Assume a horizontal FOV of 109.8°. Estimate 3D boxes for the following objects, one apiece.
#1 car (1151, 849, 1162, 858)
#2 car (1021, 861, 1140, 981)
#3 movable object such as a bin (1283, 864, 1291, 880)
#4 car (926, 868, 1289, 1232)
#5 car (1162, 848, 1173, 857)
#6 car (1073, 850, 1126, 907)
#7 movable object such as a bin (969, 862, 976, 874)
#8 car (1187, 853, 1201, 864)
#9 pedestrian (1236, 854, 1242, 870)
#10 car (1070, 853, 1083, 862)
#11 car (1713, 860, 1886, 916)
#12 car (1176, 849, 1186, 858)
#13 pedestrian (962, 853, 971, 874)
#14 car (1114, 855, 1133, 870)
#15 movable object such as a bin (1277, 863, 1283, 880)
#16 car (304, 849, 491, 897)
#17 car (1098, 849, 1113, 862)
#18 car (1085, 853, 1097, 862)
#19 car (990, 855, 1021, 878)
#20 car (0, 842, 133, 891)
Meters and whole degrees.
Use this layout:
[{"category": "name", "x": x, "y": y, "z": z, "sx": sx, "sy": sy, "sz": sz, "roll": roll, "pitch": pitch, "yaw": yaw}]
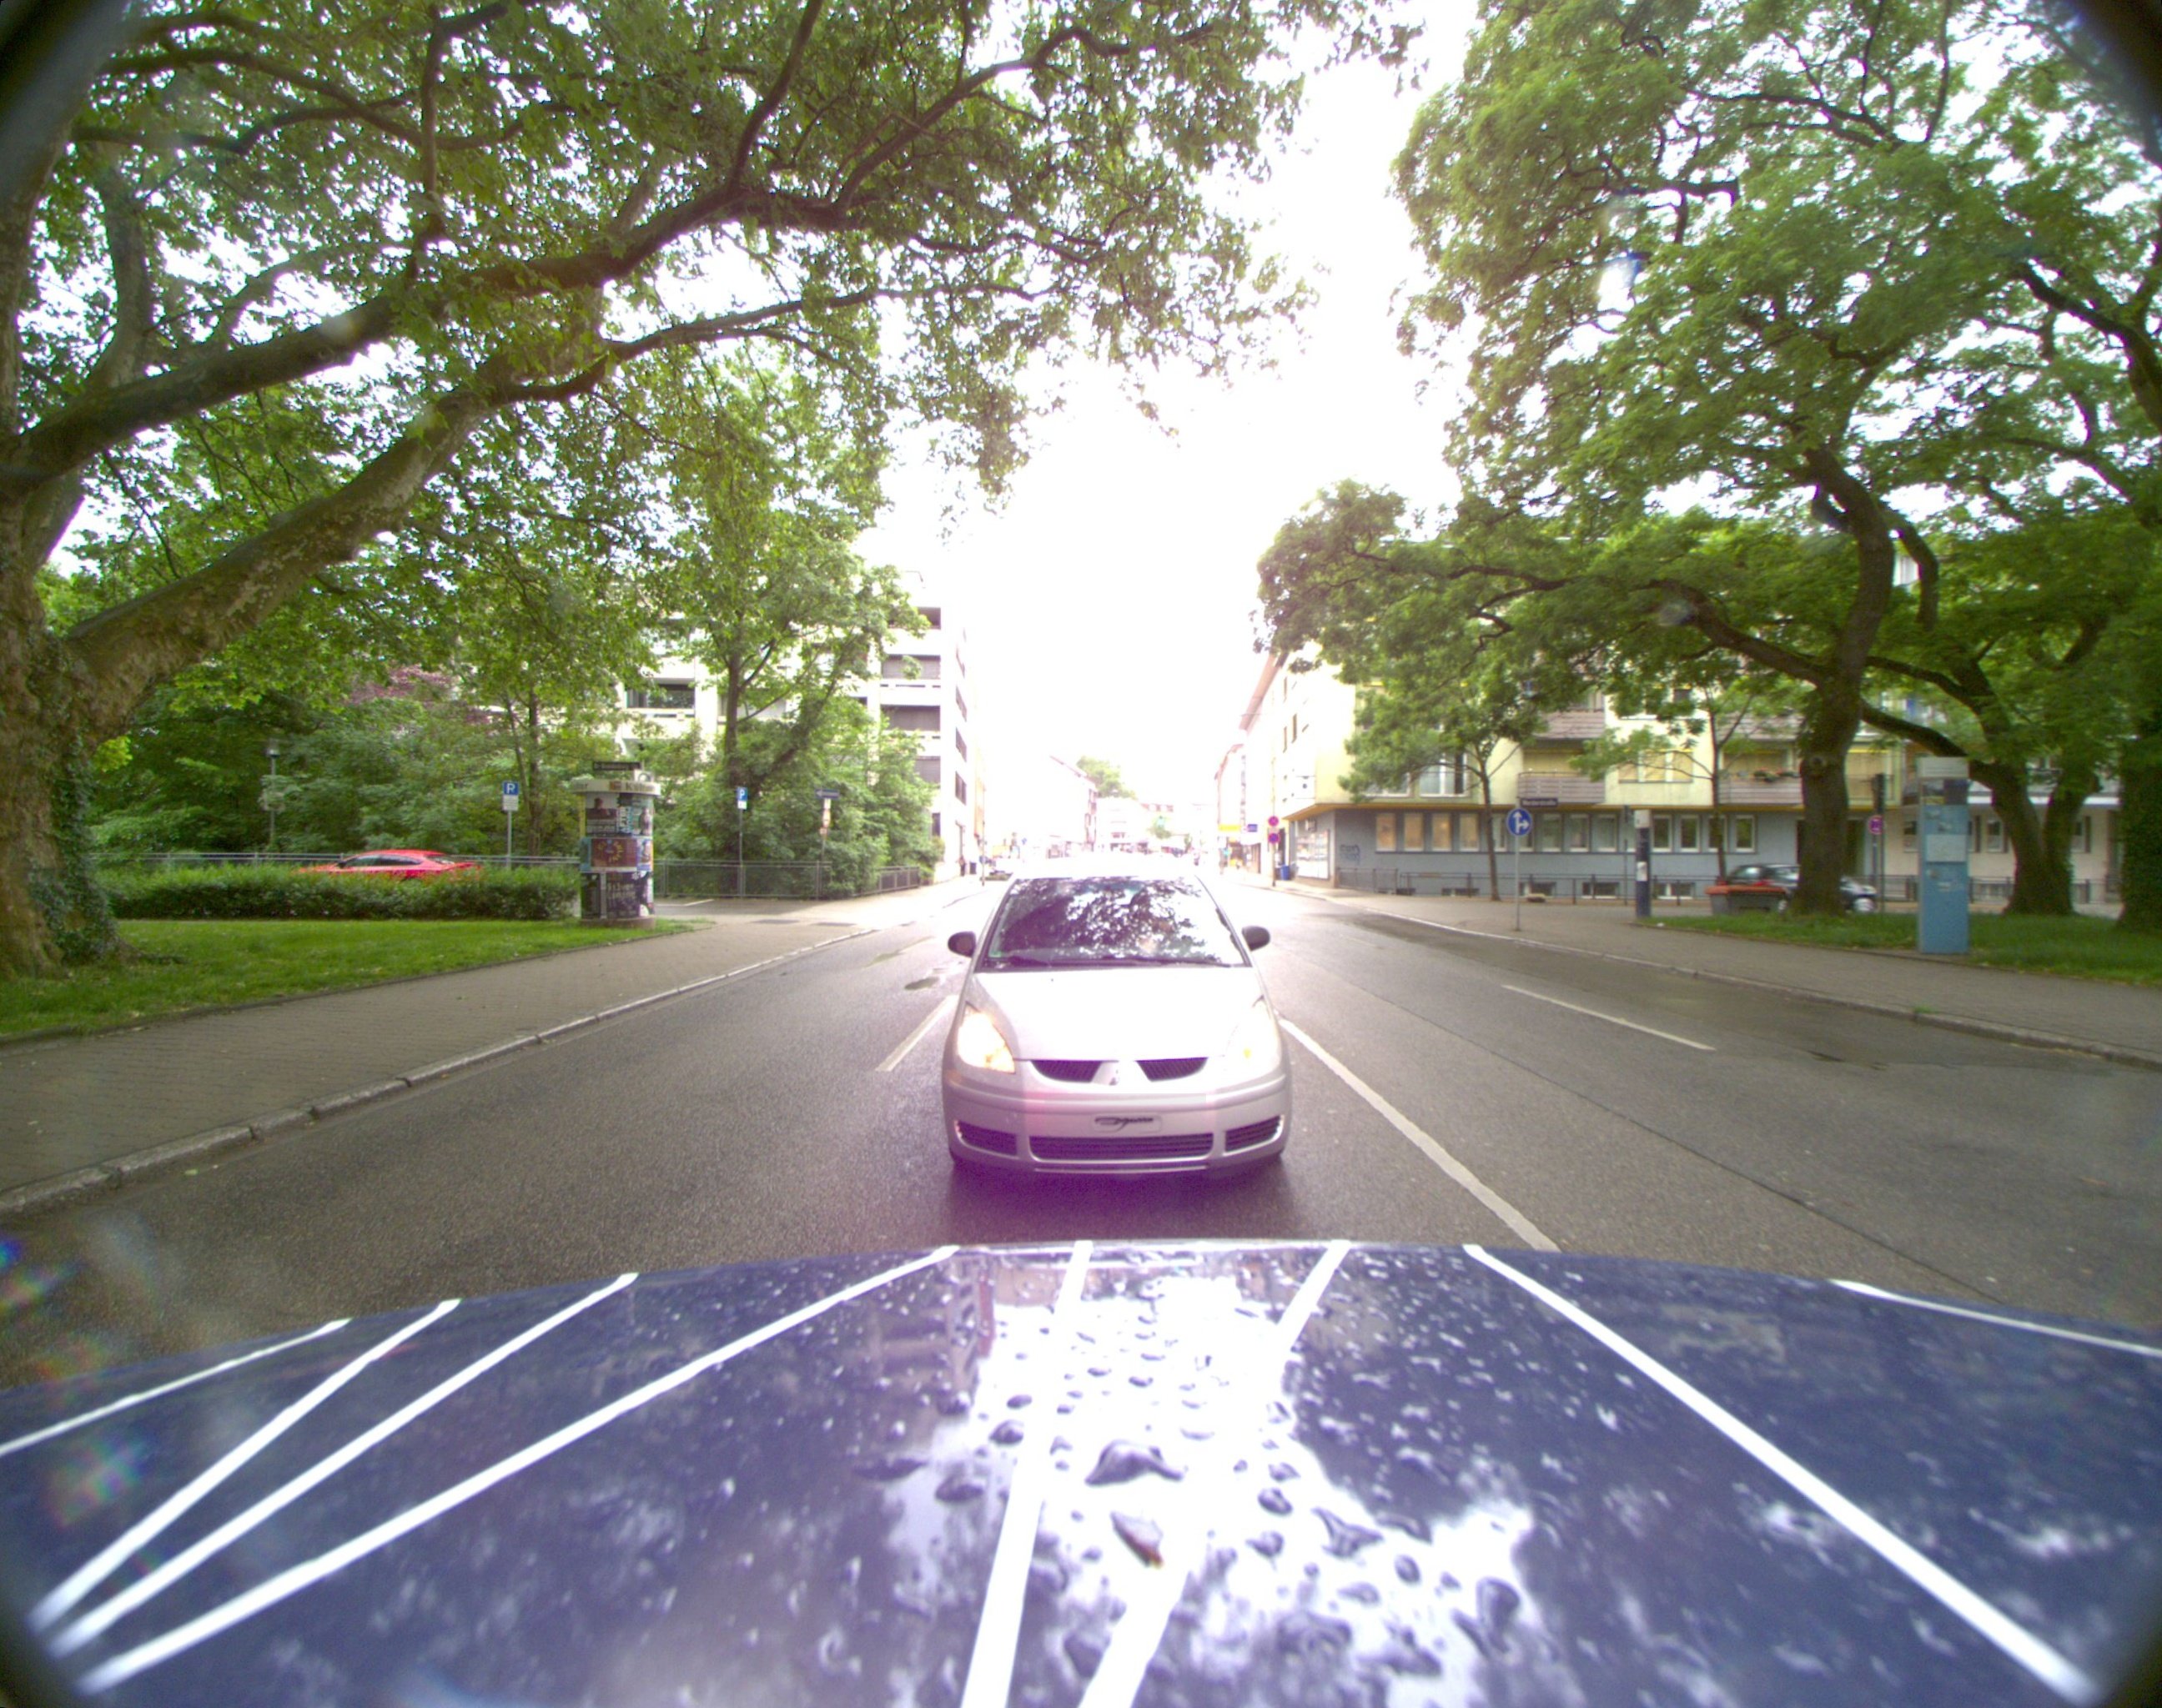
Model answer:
[{"category": "car", "x": 13.882, "y": -0.057, "z": 140.255, "sx": 1.998, "sy": 1.631, "sz": 4.001, "roll": 1, "pitch": 0, "yaw": 4}, {"category": "car", "x": 0.072, "y": 0.922, "z": 12.105, "sx": 1.590, "sy": 1.540, "sz": 3.771, "roll": 1, "pitch": 0, "yaw": 2}, {"category": "movable object such as a bin", "x": 13.091, "y": 1.157, "z": 48.272, "sx": 0.415, "sy": 1.023, "sz": 0.353, "roll": 1, "pitch": 1, "yaw": 8}, {"category": "car", "x": 0.145, "y": 0.907, "z": 4.993, "sx": 1.576, "sy": 1.514, "sz": 3.241, "roll": -1, "pitch": 0, "yaw": 1}, {"category": "car", "x": 17.699, "y": -0.249, "z": 155.753, "sx": 1.998, "sy": 1.841, "sz": 4.001, "roll": 1, "pitch": 0, "yaw": 4}, {"category": "car", "x": 0.548, "y": 0.727, "z": 24.820, "sx": 1.584, "sy": 1.705, "sz": 3.649, "roll": 1, "pitch": 0, "yaw": 0}, {"category": "movable object such as a bin", "x": -8.982, "y": 1.166, "z": 62.945, "sx": 0.556, "sy": 1.035, "sz": 0.292, "roll": 1, "pitch": 1, "yaw": 0}, {"category": "car", "x": 18.065, "y": 0.716, "z": 121.457, "sx": 1.889, "sy": 1.707, "sz": 4.001, "roll": 1, "pitch": 0, "yaw": 4}, {"category": "pedestrian", "x": 17.572, "y": 0.880, "z": 84.335, "sx": 0.594, "sy": 1.833, "sz": 0.565, "roll": 1, "pitch": 1, "yaw": 8}, {"category": "car", "x": -0.663, "y": 0.514, "z": 113.431, "sx": 1.802, "sy": 1.433, "sz": 3.896, "roll": 1, "pitch": 0, "yaw": 0}, {"category": "car", "x": 21.205, "y": 0.977, "z": 22.529, "sx": 3.564, "sy": 1.480, "sz": 1.572, "roll": 1, "pitch": 1, "yaw": 1}, {"category": "car", "x": 20.417, "y": -0.087, "z": 155.554, "sx": 1.867, "sy": 1.648, "sz": 4.001, "roll": 1, "pitch": 0, "yaw": 4}, {"category": "pedestrian", "x": -8.190, "y": 0.665, "z": 54.234, "sx": 0.480, "sy": 1.521, "sz": 0.481, "roll": -2, "pitch": 1, "yaw": 1}, {"category": "car", "x": 4.158, "y": 0.816, "z": 74.963, "sx": 1.701, "sy": 1.433, "sz": 3.897, "roll": 1, "pitch": 0, "yaw": 1}, {"category": "movable object such as a bin", "x": 12.712, "y": 1.111, "z": 48.590, "sx": 0.338, "sy": 1.023, "sz": 0.353, "roll": 1, "pitch": 1, "yaw": 8}, {"category": "car", "x": -19.375, "y": 0.518, "z": 21.656, "sx": 3.790, "sy": 1.271, "sz": 1.576, "roll": 1, "pitch": 1, "yaw": -3}, {"category": "car", "x": 3.646, "y": 0.193, "z": 113.072, "sx": 1.935, "sy": 1.817, "sz": 3.999, "roll": -2, "pitch": 1, "yaw": 0}, {"category": "car", "x": 1.586, "y": 0.552, "z": 120.027, "sx": 1.802, "sy": 1.433, "sz": 3.897, "roll": 1, "pitch": 0, "yaw": 1}, {"category": "car", "x": -5.302, "y": 0.861, "z": 53.519, "sx": 1.681, "sy": 1.424, "sz": 3.681, "roll": 3, "pitch": 0, "yaw": 1}, {"category": "car", "x": -29.272, "y": 0.341, "z": 21.250, "sx": 3.468, "sy": 1.271, "sz": 1.448, "roll": 1, "pitch": 1, "yaw": -5}]
